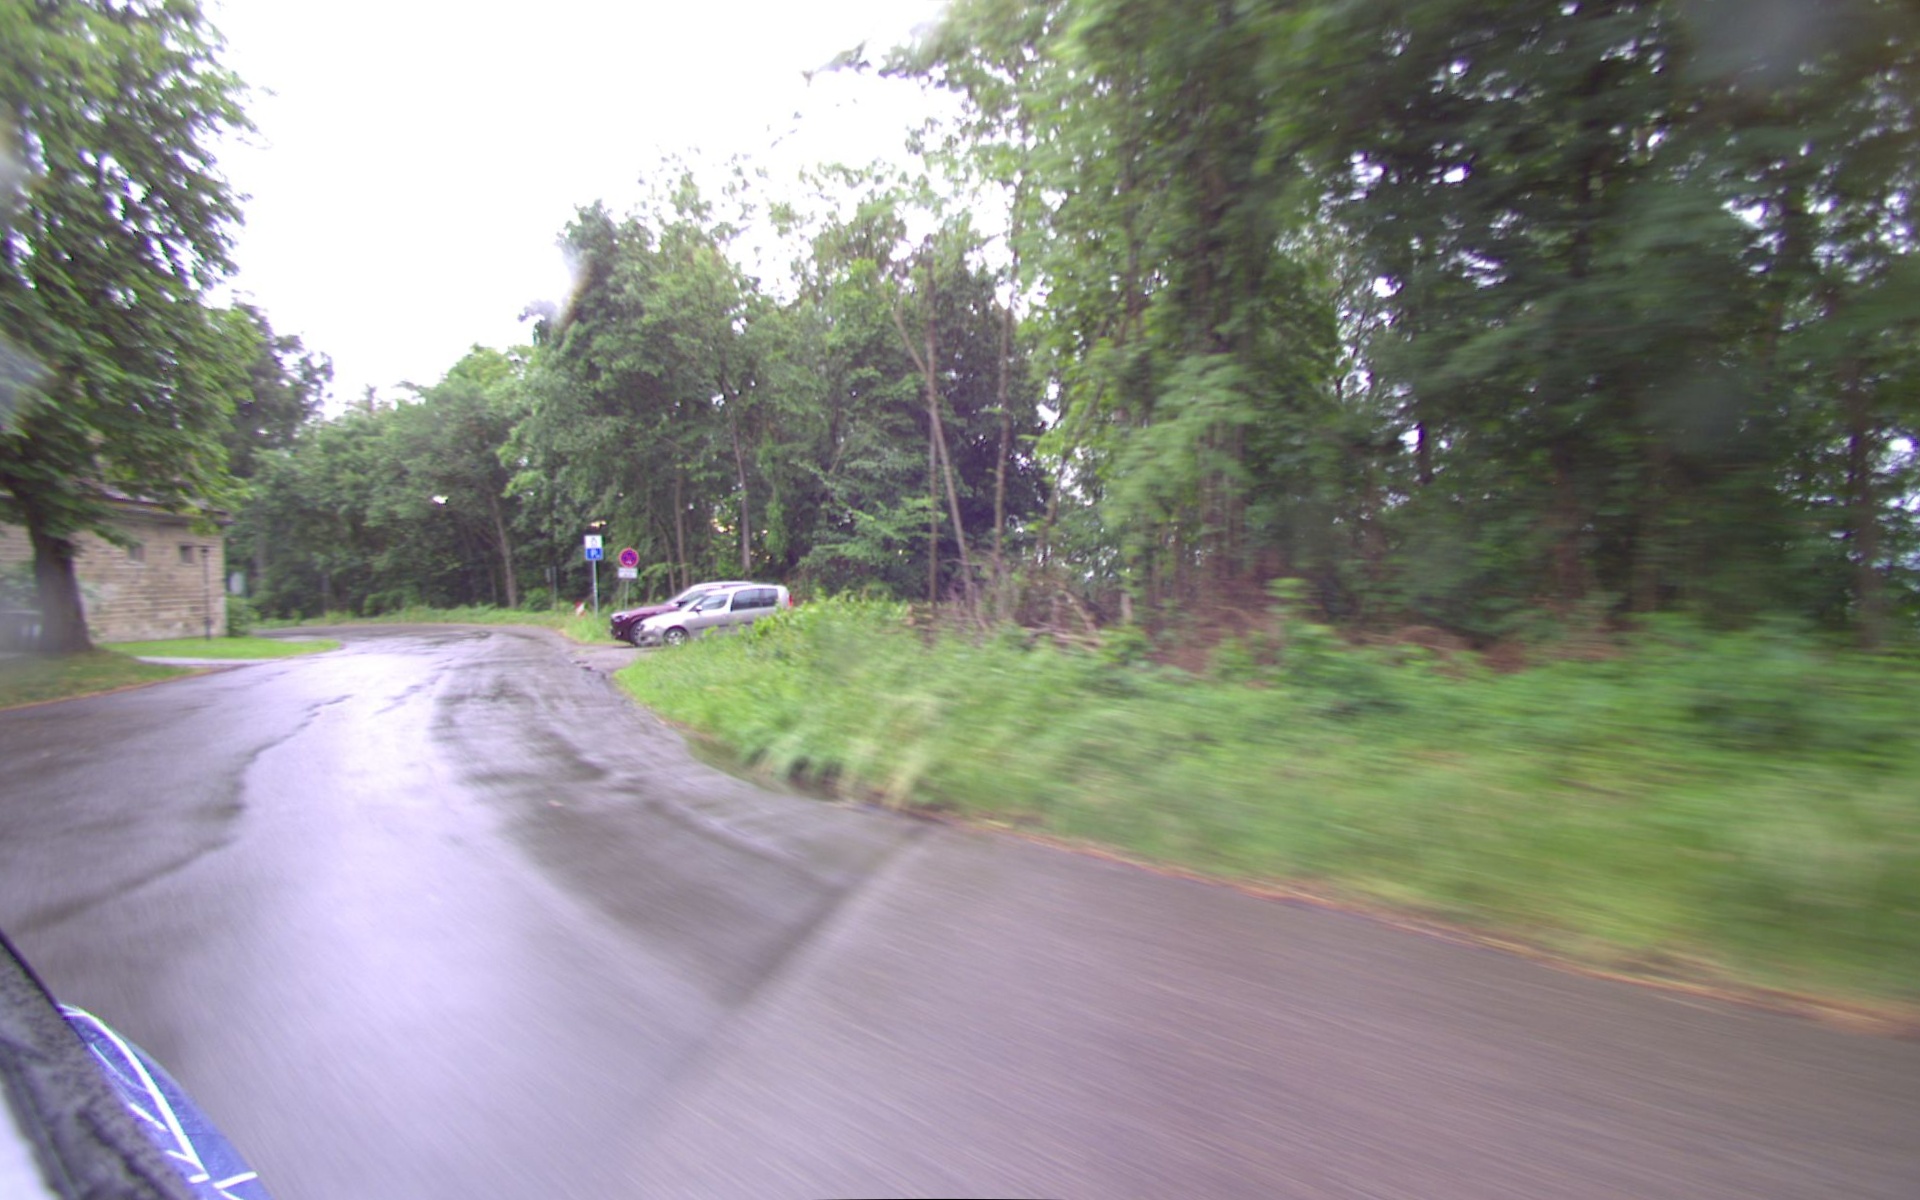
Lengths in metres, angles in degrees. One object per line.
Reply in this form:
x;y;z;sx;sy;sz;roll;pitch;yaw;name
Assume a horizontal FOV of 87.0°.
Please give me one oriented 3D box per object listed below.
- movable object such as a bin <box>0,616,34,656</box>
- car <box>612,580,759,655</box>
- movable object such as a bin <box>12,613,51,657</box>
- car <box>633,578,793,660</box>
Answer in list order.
-23.405;0.882;25.028;0.622;0.961;0.763;-1;0;-34;movable object such as a bin
-8.035;0.558;29.528;3.931;2.029;2.006;2;-3;-20;car
-23.703;0.885;25.857;0.622;1.083;0.763;-1;0;-34;movable object such as a bin
-6.615;0.540;27.029;3.931;2.029;2.006;2;-3;-20;car
